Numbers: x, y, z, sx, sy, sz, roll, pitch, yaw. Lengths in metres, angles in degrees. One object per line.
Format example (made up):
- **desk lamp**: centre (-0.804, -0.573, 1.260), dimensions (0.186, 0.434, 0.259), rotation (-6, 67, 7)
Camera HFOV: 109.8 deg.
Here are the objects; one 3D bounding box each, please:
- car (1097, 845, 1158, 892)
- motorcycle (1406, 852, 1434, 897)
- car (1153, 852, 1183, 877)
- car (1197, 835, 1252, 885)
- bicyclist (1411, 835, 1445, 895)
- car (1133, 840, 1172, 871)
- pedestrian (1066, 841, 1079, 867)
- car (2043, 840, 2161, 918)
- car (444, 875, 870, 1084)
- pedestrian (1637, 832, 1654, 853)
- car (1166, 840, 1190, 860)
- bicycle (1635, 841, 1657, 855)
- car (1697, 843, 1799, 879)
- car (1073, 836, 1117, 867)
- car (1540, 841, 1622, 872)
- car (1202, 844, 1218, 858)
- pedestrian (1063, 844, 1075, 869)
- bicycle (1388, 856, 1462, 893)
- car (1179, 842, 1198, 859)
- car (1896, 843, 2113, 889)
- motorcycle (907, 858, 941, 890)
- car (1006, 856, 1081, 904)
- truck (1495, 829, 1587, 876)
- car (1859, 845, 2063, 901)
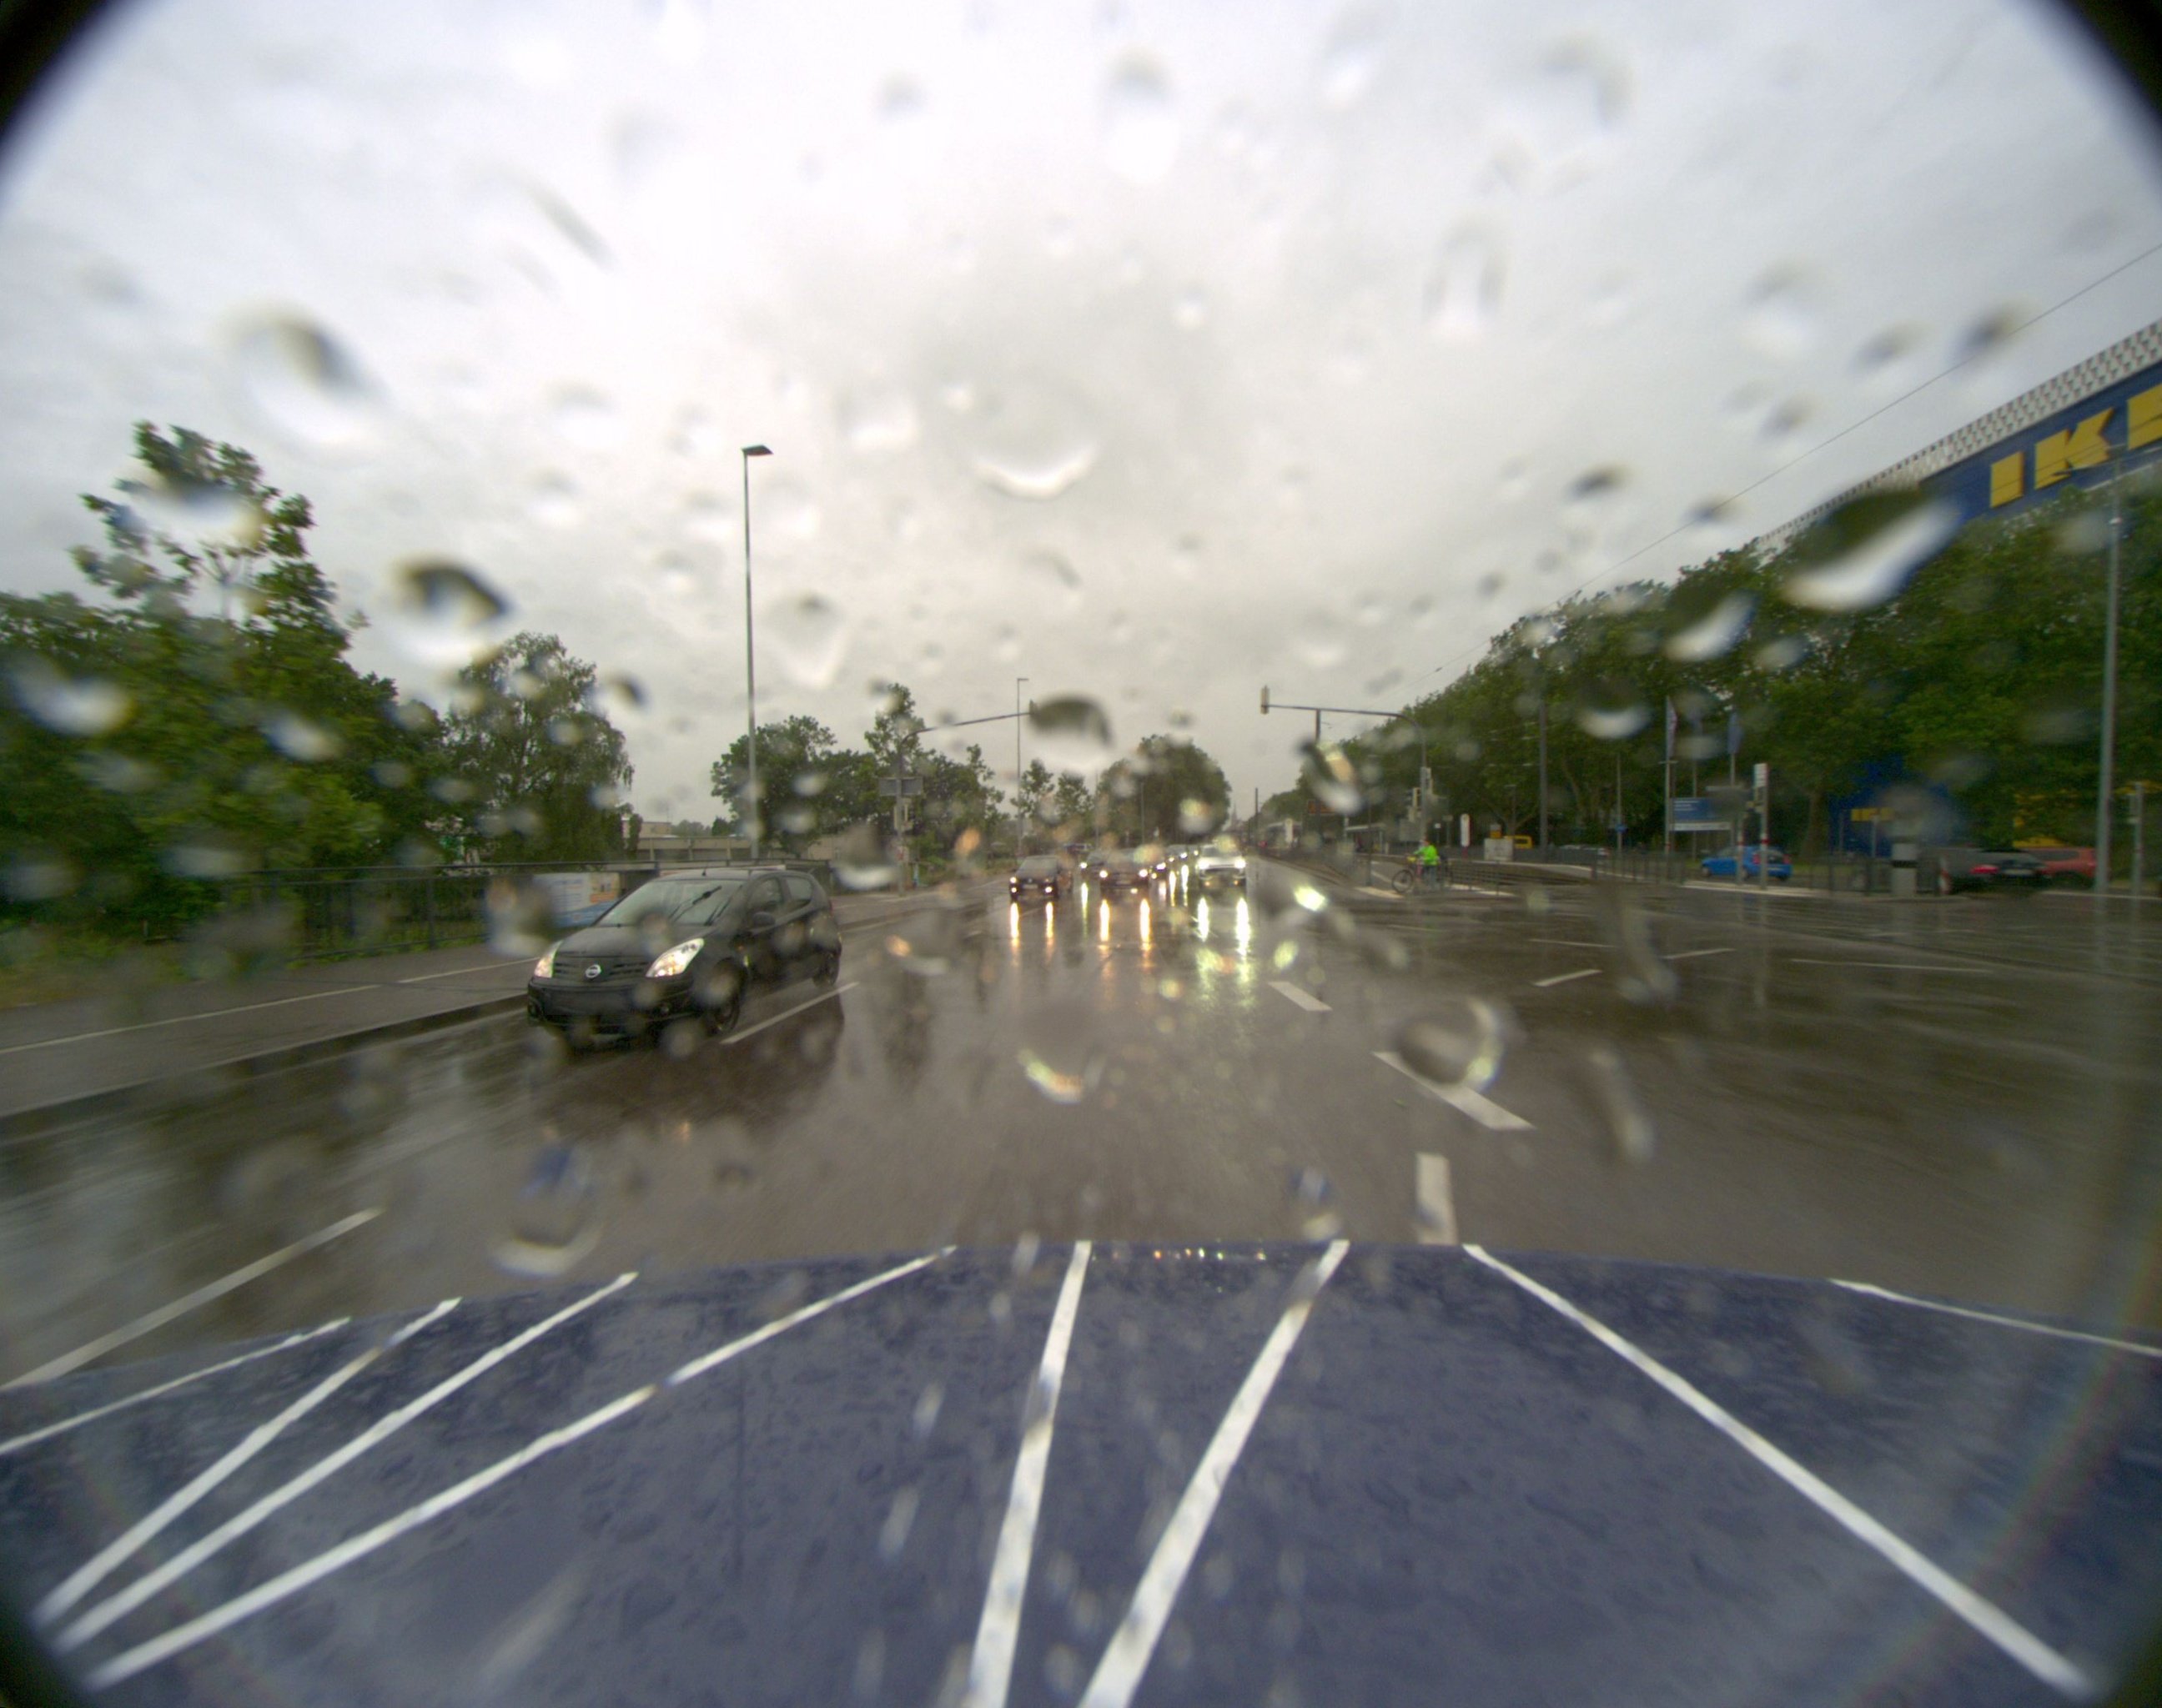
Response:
- **car**: centre (1.823, 0.523, 28.519), dimensions (1.875, 1.573, 4.046), rotation (-2, 0, 8)
- **motorcycle**: centre (9.626, 0.559, 21.582), dimensions (0.527, 1.214, 1.404), rotation (-3, 0, 30)
- **car**: centre (5.871, 0.663, 50.742), dimensions (1.714, 1.515, 4.046), rotation (-2, 0, 9)
- **car**: centre (5.773, 0.193, 30.877), dimensions (1.992, 1.778, 4.556), rotation (-2, 1, 9)
- **bicyclist**: centre (10.329, 0.322, 22.638), dimensions (0.618, 1.721, 0.793), rotation (-3, 0, 7)
- **car**: centre (3.842, 0.072, 40.108), dimensions (1.714, 1.515, 4.046), rotation (-2, 0, 9)
- **pedestrian**: centre (-0.524, -0.002, 48.148), dimensions (0.733, 1.602, 0.618), rotation (0, 2, 9)
- **car**: centre (27.224, 0.611, 18.864), dimensions (1.809, 1.784, 4.503), rotation (-2, 1, 15)
- **car**: centre (-3.823, 1.023, 7.839), dimensions (1.775, 1.453, 4.094), rotation (-2, 0, 5)
- **pedestrian**: centre (35.987, -0.736, 48.430), dimensions (0.579, 1.327, 0.686), rotation (-2, 2, 5)
- **car**: centre (7.983, -0.334, 62.377), dimensions (1.714, 1.515, 4.046), rotation (-2, 0, 9)
- **bicycle**: centre (36.001, -0.419, 48.437), dimensions (0.573, 0.852, 1.176), rotation (-2, 1, 5)
- **car**: centre (29.150, 0.290, 33.377), dimensions (1.584, 1.406, 3.918), rotation (-2, 0, 11)
- **car**: centre (0.797, -0.137, 40.880), dimensions (1.714, 1.515, 4.046), rotation (-2, 0, 9)
- **car**: centre (28.103, 0.126, 42.910), dimensions (1.997, 1.558, 5.367), rotation (-3, 0, 12)
- **car**: centre (15.156, -0.316, 89.098), dimensions (1.714, 1.515, 4.046), rotation (-2, 0, 9)
- **pedestrian**: centre (-0.791, 0.173, 50.577), dimensions (0.733, 1.602, 0.576), rotation (0, 2, 9)
- **bicycle**: centre (10.274, 0.617, 22.716), dimensions (1.869, 1.002, 0.670), rotation (-3, 0, 8)
- **car**: centre (10.579, -0.339, 74.414), dimensions (1.714, 1.515, 4.046), rotation (-2, 0, 9)
- **car**: centre (36.035, 0.503, 29.864), dimensions (2.002, 1.558, 5.050), rotation (-3, 0, -27)
- **motorcycle**: centre (-6.178, 0.768, 29.948), dimensions (0.632, 1.211, 1.450), rotation (1, 1, 21)
- **car**: centre (-1.205, 0.855, 26.423), dimensions (1.714, 1.476, 4.046), rotation (-2, 0, 9)
- **truck**: centre (33.798, -0.232, 56.259), dimensions (2.745, 2.833, 9.096), rotation (-2, 3, 10)
- **car**: centre (24.164, 0.475, 21.123), dimensions (1.584, 1.358, 4.206), rotation (-2, 0, 15)
